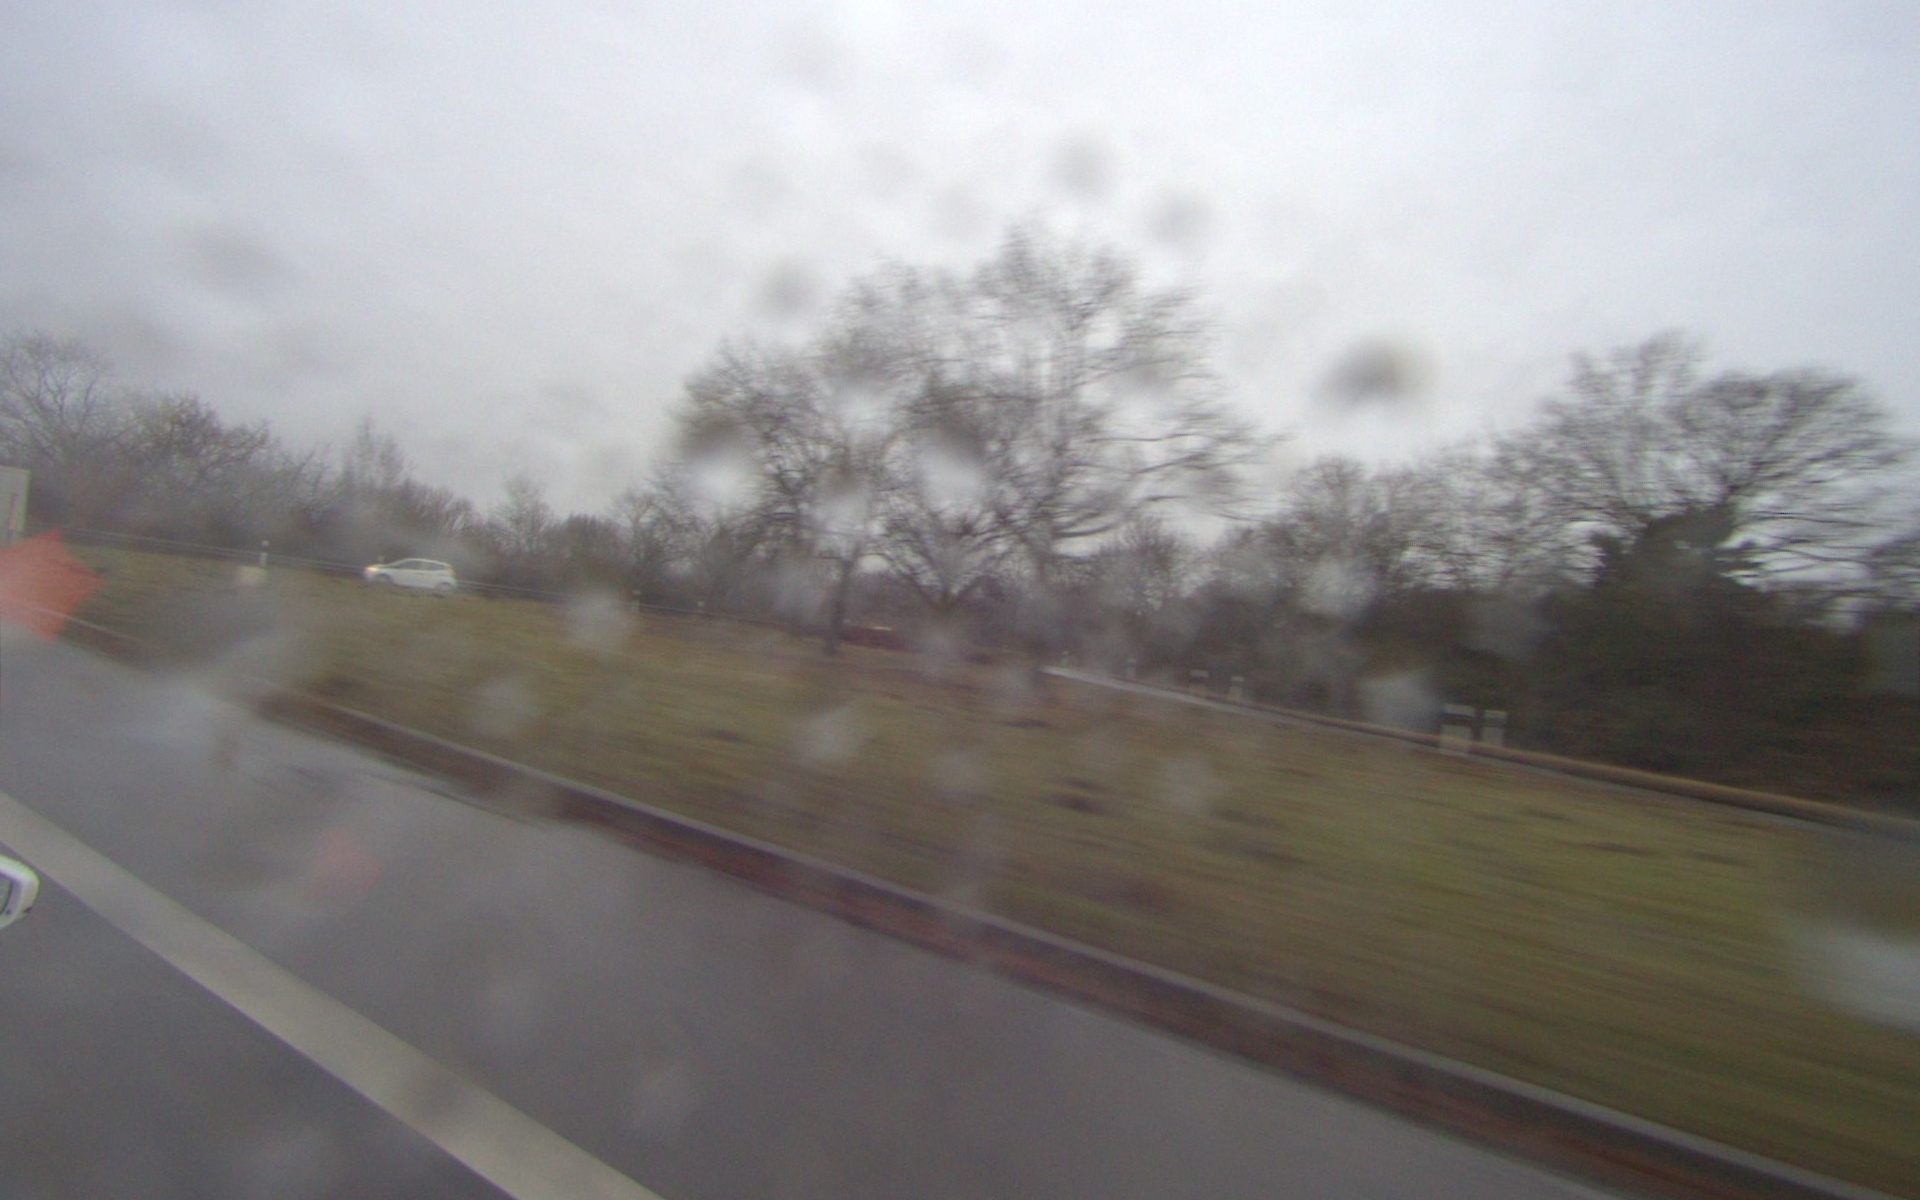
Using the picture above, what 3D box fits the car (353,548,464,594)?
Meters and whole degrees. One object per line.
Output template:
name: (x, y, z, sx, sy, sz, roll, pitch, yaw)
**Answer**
car: (-23.432, -1.243, 42.819, 3.958, 1.362, 1.985, 8, -1, -30)
